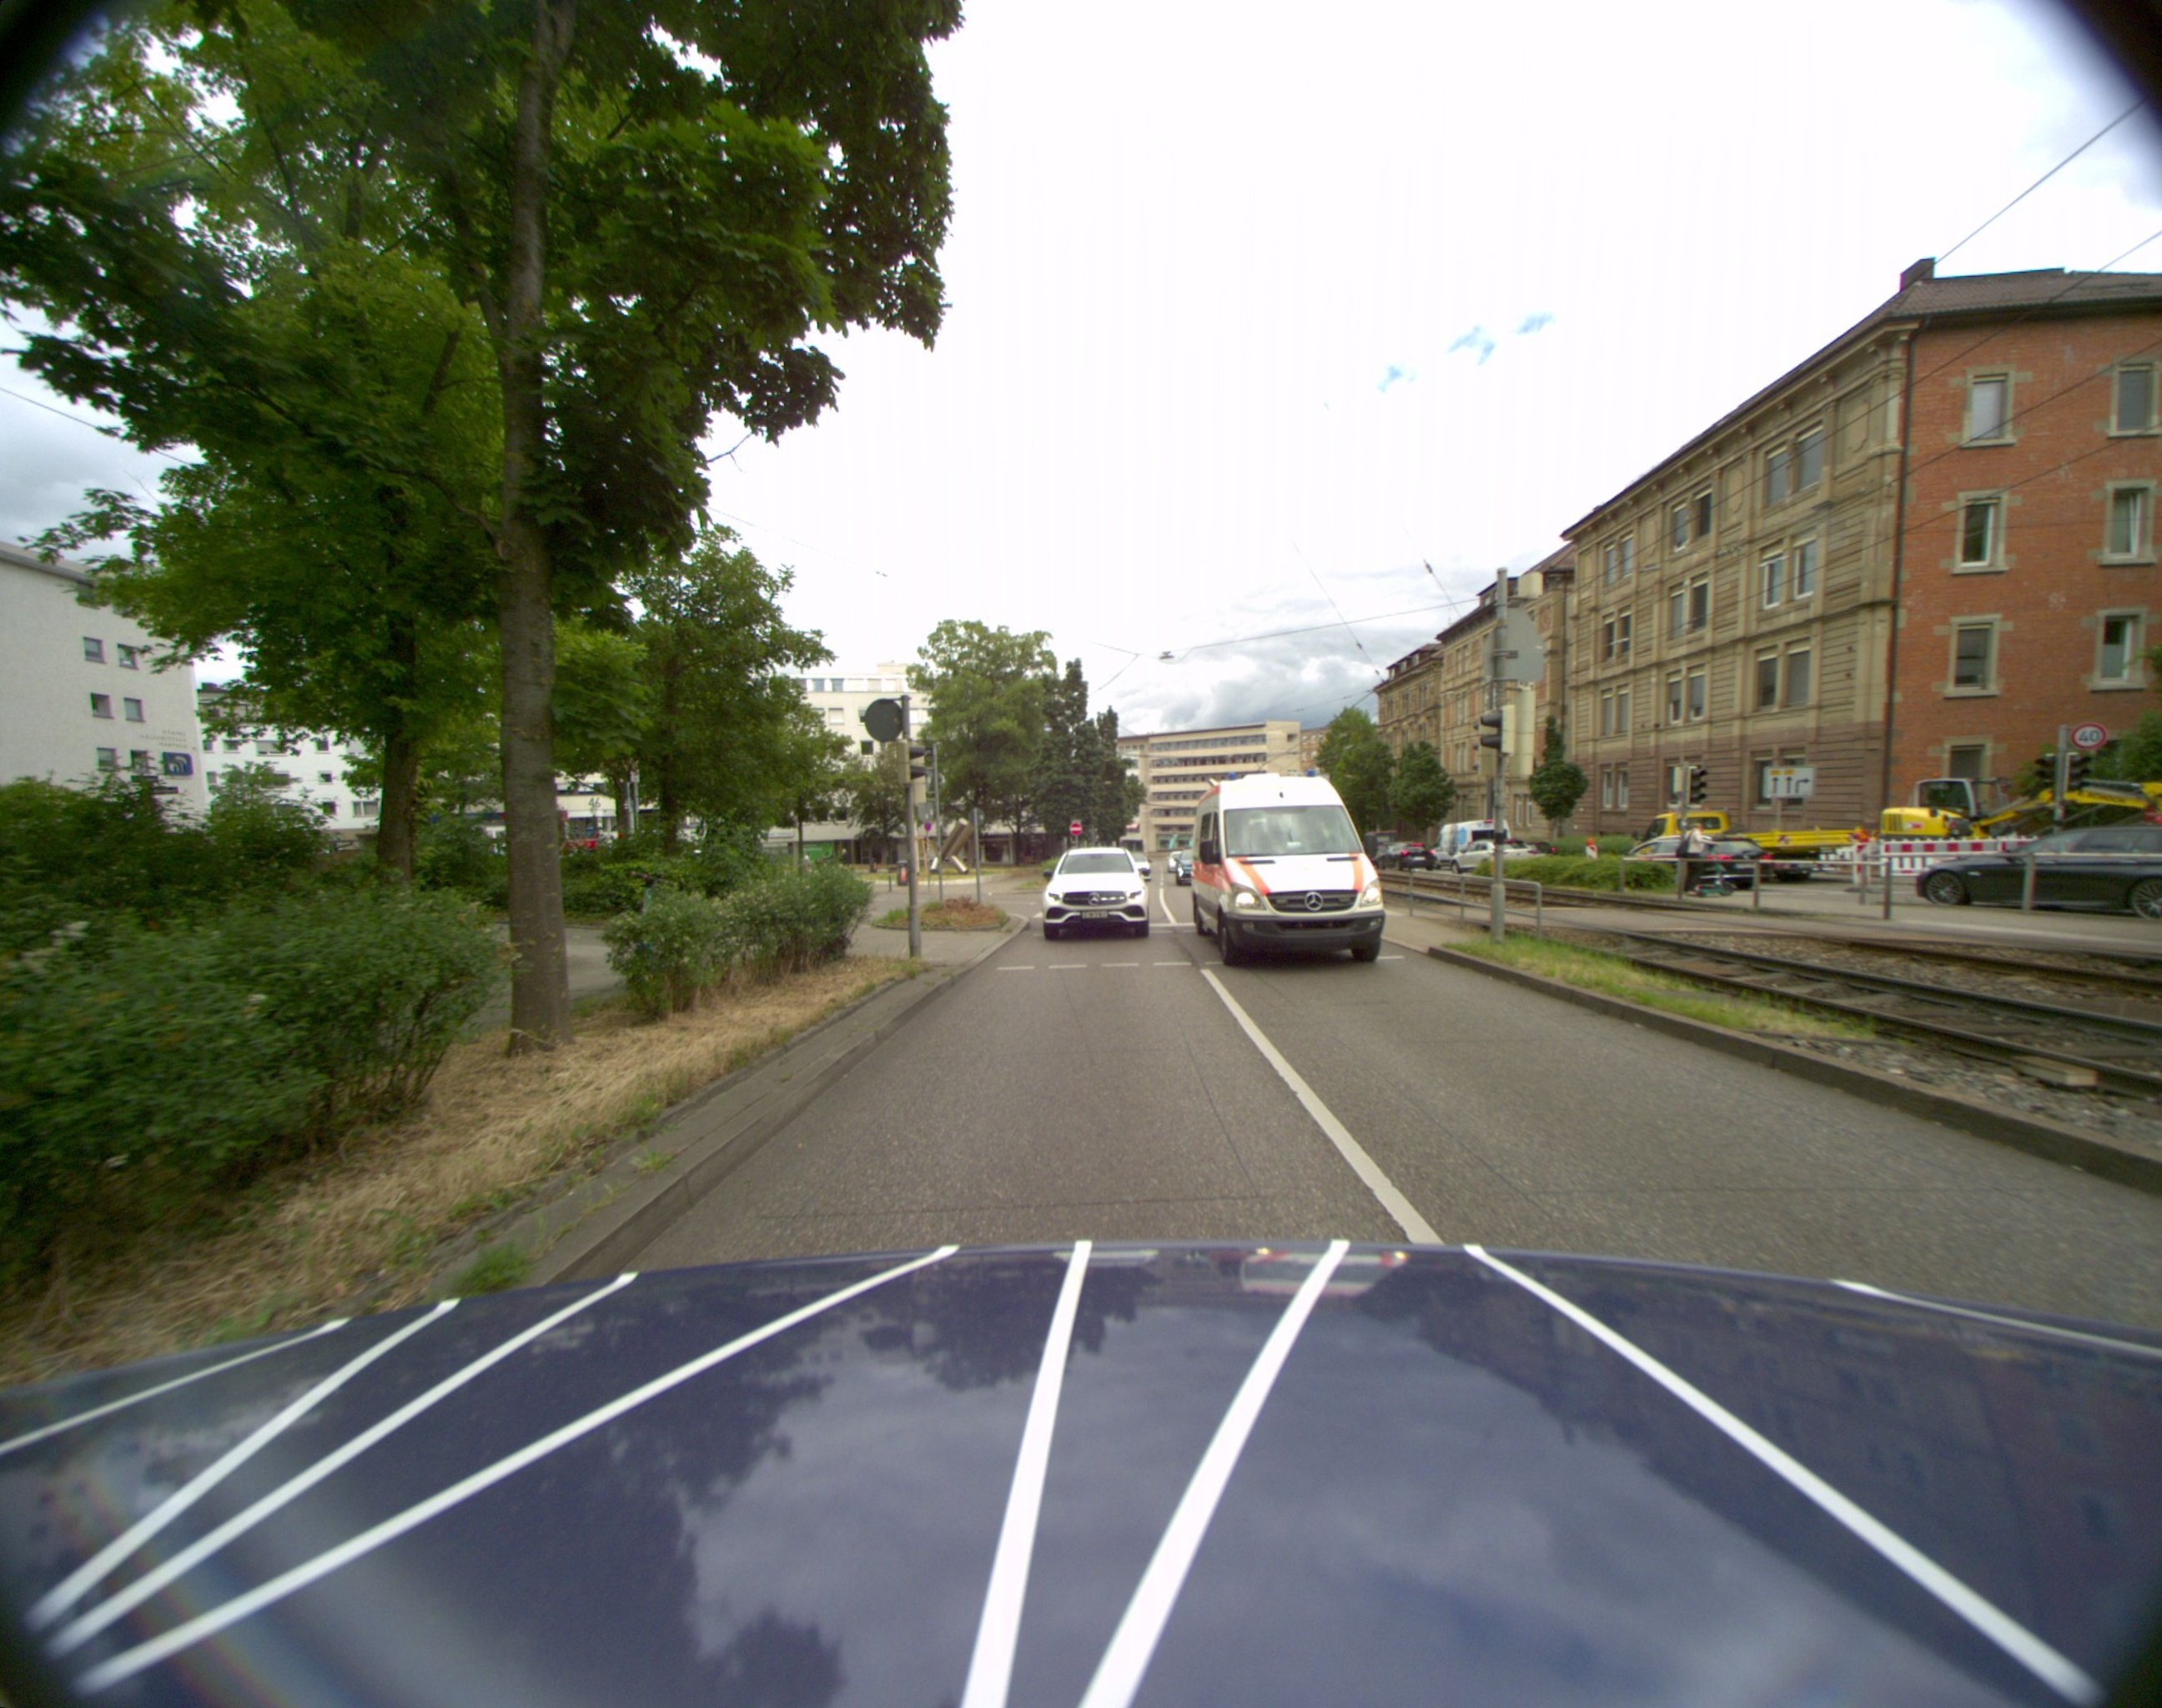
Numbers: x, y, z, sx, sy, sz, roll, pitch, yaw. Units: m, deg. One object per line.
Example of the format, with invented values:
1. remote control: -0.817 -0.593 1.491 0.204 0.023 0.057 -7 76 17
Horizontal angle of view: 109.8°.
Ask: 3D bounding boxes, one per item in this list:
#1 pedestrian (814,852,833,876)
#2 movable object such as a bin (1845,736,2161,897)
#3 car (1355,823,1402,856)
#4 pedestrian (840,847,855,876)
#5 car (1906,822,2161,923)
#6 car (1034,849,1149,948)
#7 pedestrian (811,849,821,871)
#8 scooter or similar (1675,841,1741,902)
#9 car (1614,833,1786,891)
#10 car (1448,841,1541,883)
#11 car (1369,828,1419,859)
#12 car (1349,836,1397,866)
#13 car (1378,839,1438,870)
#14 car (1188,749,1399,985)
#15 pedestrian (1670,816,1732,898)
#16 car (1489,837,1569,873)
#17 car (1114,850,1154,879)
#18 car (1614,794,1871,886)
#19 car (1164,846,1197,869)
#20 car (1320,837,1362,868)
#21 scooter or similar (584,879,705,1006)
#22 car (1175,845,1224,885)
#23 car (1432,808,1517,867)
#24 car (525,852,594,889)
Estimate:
1. pedestrian: -14.036 0.529 41.407 0.655 1.284 0.686 -1 1 15
2. movable object such as a bin: 24.763 -0.864 19.856 2.754 3.527 6.545 -1 1 -5
3. car: 21.341 -1.017 54.720 2.240 2.275 4.002 -1 1 8
4. pedestrian: -12.933 0.398 42.120 0.727 1.593 0.791 -1 1 -18
5. car: 16.415 0.253 11.940 1.885 1.427 4.846 1 1 5
6. car: 0.364 0.735 15.005 1.893 1.610 4.479 -2 0 5
7. pedestrian: -19.063 0.426 54.665 0.529 1.524 0.672 -2 2 -34
8. scooter or similar: 13.932 0.370 16.885 1.500 1.288 0.532 -1 1 -24
9. car: 16.993 0.181 21.142 1.782 1.453 4.001 -1 1 5
10. car: 16.762 0.278 31.030 1.707 1.558 4.000 -1 1 1
11. car: 20.966 -0.706 51.072 2.319 1.928 3.438 -1 1 8
12. car: 17.668 -0.204 46.078 1.840 1.740 4.002 -1 1 8
13. car: 17.286 0.015 40.321 1.870 1.510 3.951 -1 1 7
14. car: 2.880 0.140 11.760 2.038 2.684 5.856 -2 1 5
15. pedestrian: 14.040 0.066 17.231 0.742 1.807 0.792 0 1 -17
16. car: 19.729 0.029 33.646 1.648 1.445 3.566 -2 0 5
17. car: 2.813 0.509 39.573 1.821 1.441 3.855 -1 0 7
18. car: 20.434 -0.424 24.131 2.446 2.422 6.754 -2 1 2
19. car: 7.007 0.223 53.714 1.998 1.543 4.318 -1 0 4
20. car: 17.944 -0.123 52.606 1.997 2.033 4.002 -1 1 8
21. scooter or similar: -4.824 0.925 8.514 0.632 1.203 1.556 -1 1 -9
22. car: 5.197 0.430 33.597 1.929 1.563 4.182 -3 0 8
23. car: 20.078 -0.814 39.048 2.213 2.806 4.785 -1 1 5
24. car: -23.662 0.700 34.592 1.751 1.556 3.710 -1 1 -21
